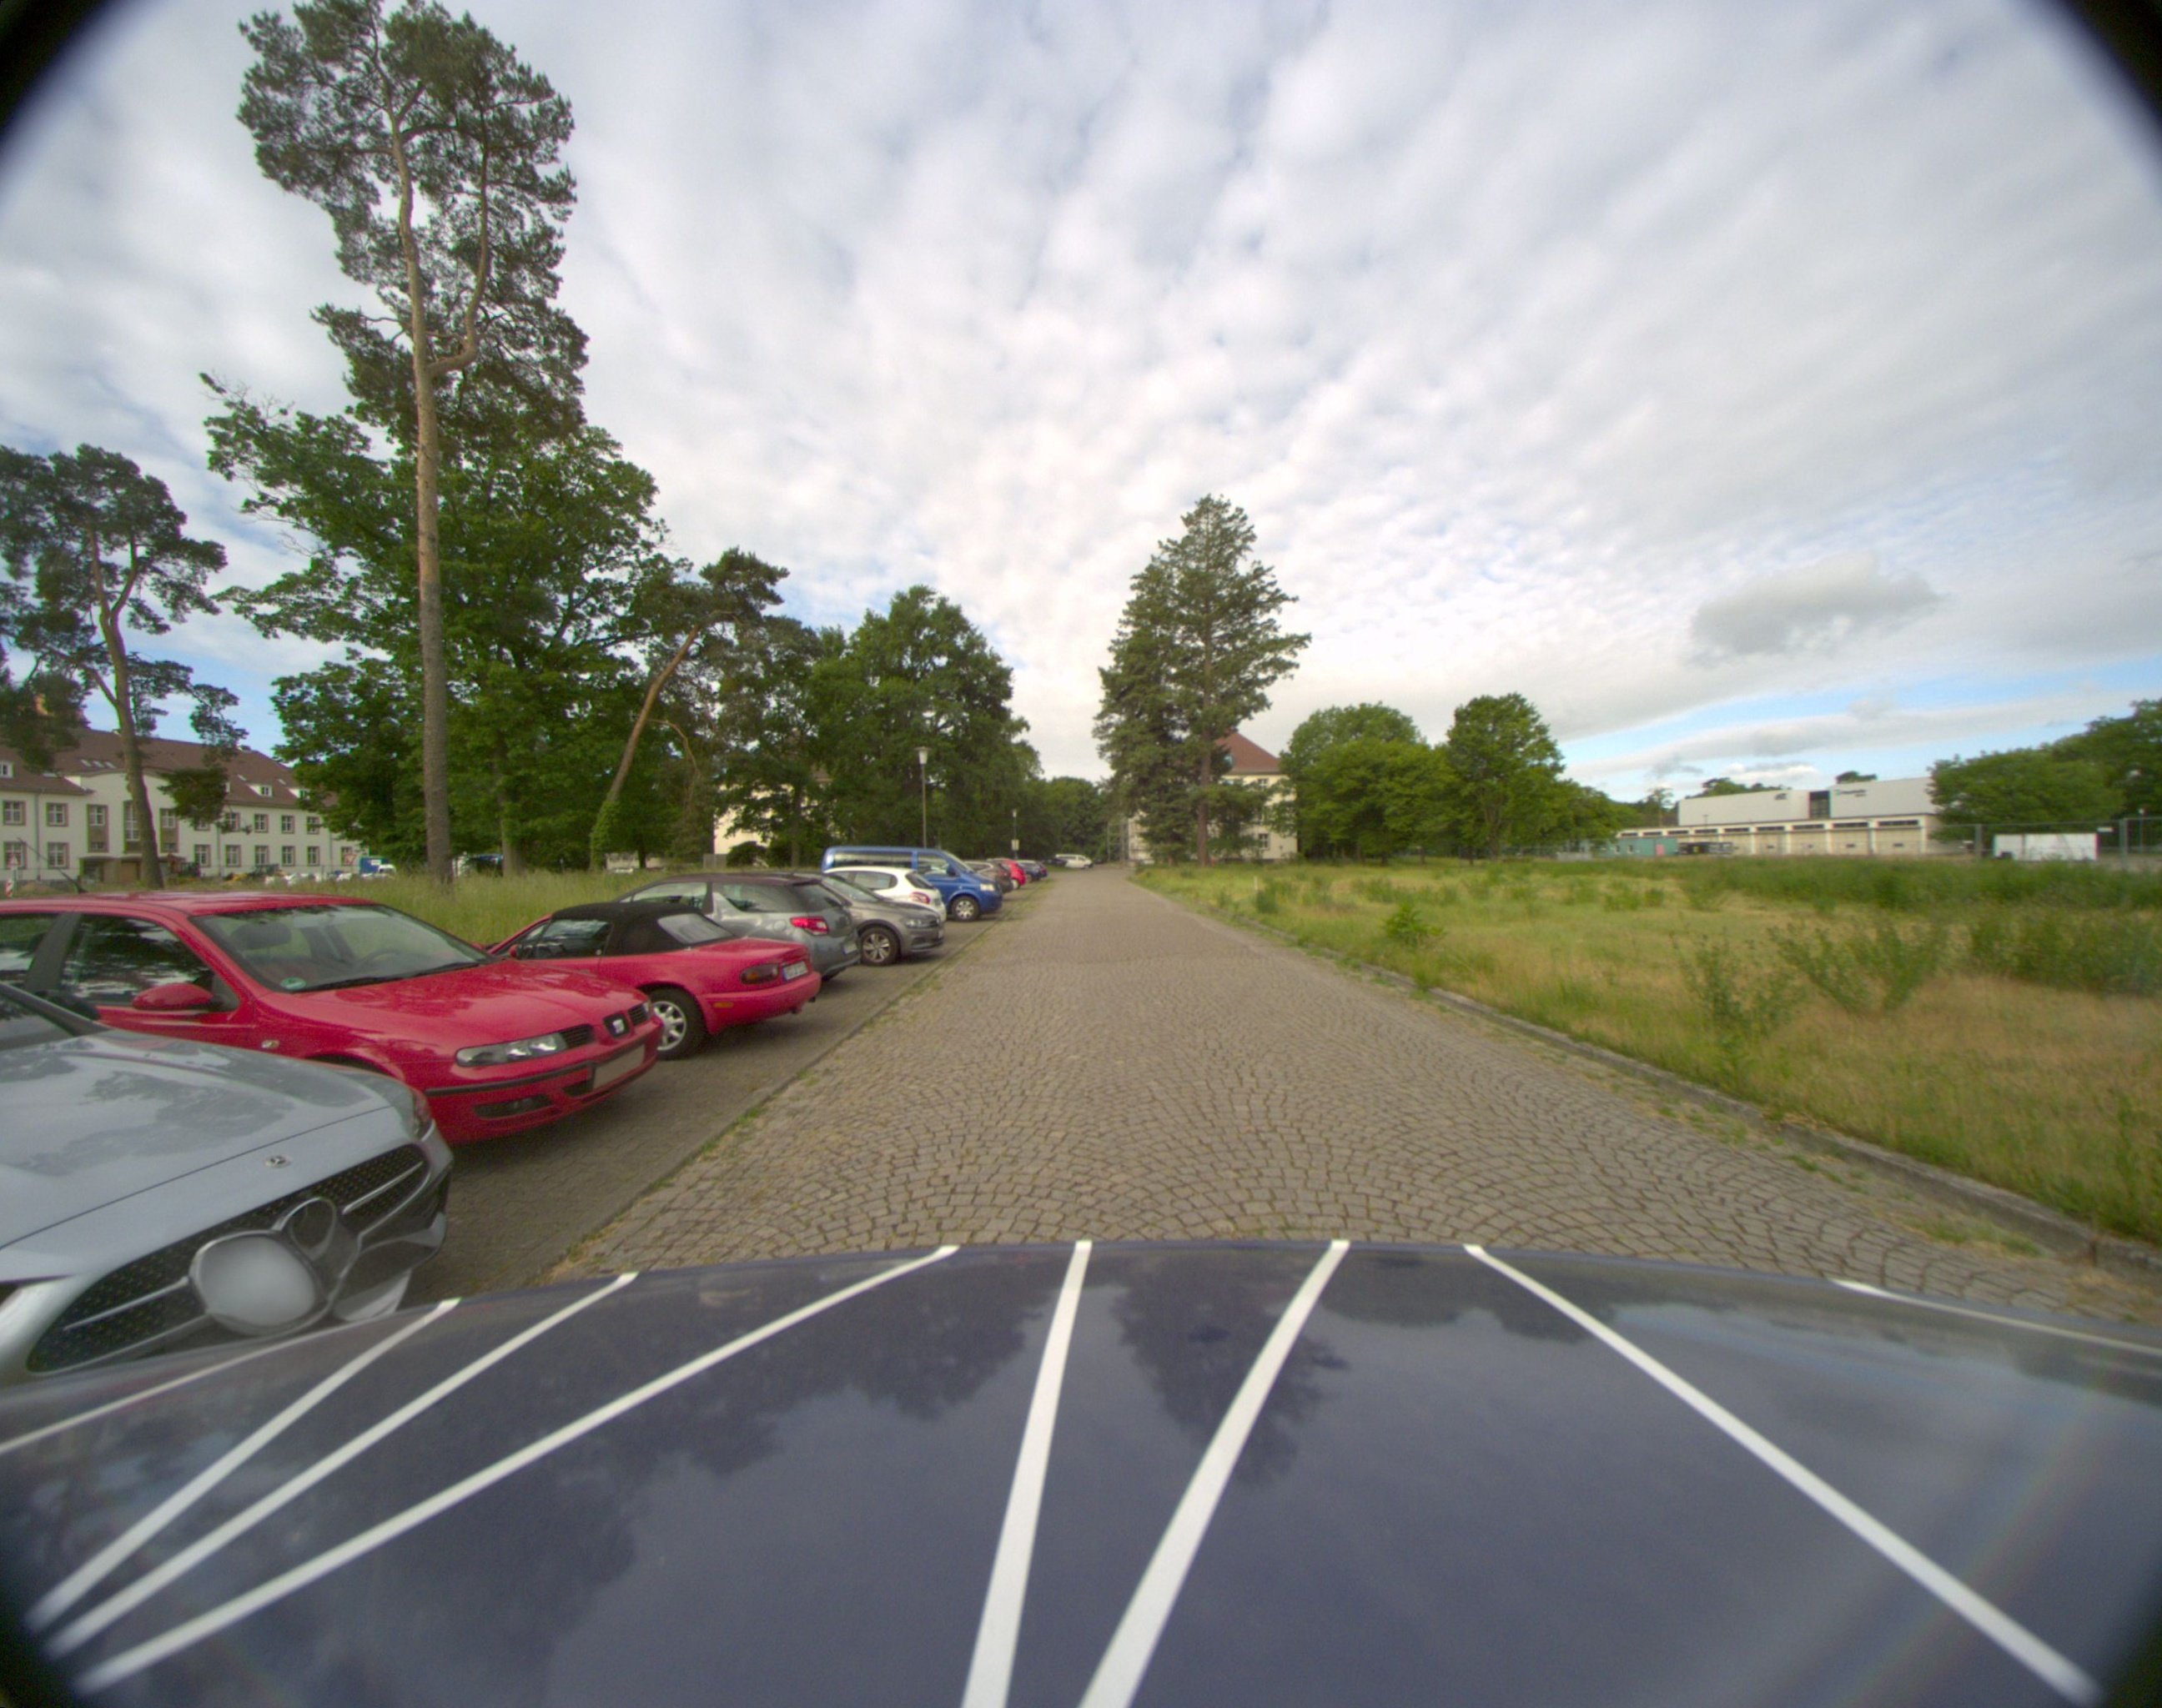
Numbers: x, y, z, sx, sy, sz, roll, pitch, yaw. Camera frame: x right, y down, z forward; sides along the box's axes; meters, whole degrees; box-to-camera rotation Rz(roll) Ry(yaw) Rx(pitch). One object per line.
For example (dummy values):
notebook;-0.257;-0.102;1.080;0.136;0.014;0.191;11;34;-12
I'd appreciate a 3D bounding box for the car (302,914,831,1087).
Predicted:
car;-4.251;1.200;6.645;3.600;1.200;1.495;-1;0;1

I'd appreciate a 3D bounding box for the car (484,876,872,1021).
car;-4.722;1.074;9.375;3.787;1.497;1.799;-1;0;-2

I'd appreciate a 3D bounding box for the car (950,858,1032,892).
car;-4.672;1.075;39.784;3.997;1.521;2.000;-2;0;0

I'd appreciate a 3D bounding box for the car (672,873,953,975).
car;-4.177;1.076;12.261;3.848;1.448;1.820;-1;0;3

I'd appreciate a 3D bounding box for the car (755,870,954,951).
car;-4.392;1.076;15.086;3.408;1.443;1.637;-1;0;1

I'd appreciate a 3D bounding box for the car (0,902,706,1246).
car;-4.617;1.081;4.400;3.972;1.443;1.800;-1;0;0

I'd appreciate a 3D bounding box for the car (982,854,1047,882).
car;-4.353;0.924;50.031;4.007;1.752;2.000;-1;0;1

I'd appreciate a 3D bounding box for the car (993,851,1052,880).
car;-4.119;0.818;54.427;3.996;2.002;2.000;-1;0;1

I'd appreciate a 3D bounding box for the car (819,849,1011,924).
car;-4.355;0.830;20.509;4.749;1.928;2.000;0;0;0

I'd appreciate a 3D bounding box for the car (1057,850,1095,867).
car;-0.595;0.584;103.287;5.030;2.164;2.000;-1;0;2

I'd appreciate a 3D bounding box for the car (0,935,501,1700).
car;-4.676;1.086;2.076;4.769;1.474;1.812;-1;0;0

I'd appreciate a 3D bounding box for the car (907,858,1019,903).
car;-4.501;1.008;29.452;3.997;1.601;2.000;-1;0;0

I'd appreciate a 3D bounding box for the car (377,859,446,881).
car;-67.963;1.585;77.230;2.153;2.002;5.225;-1;0;3
